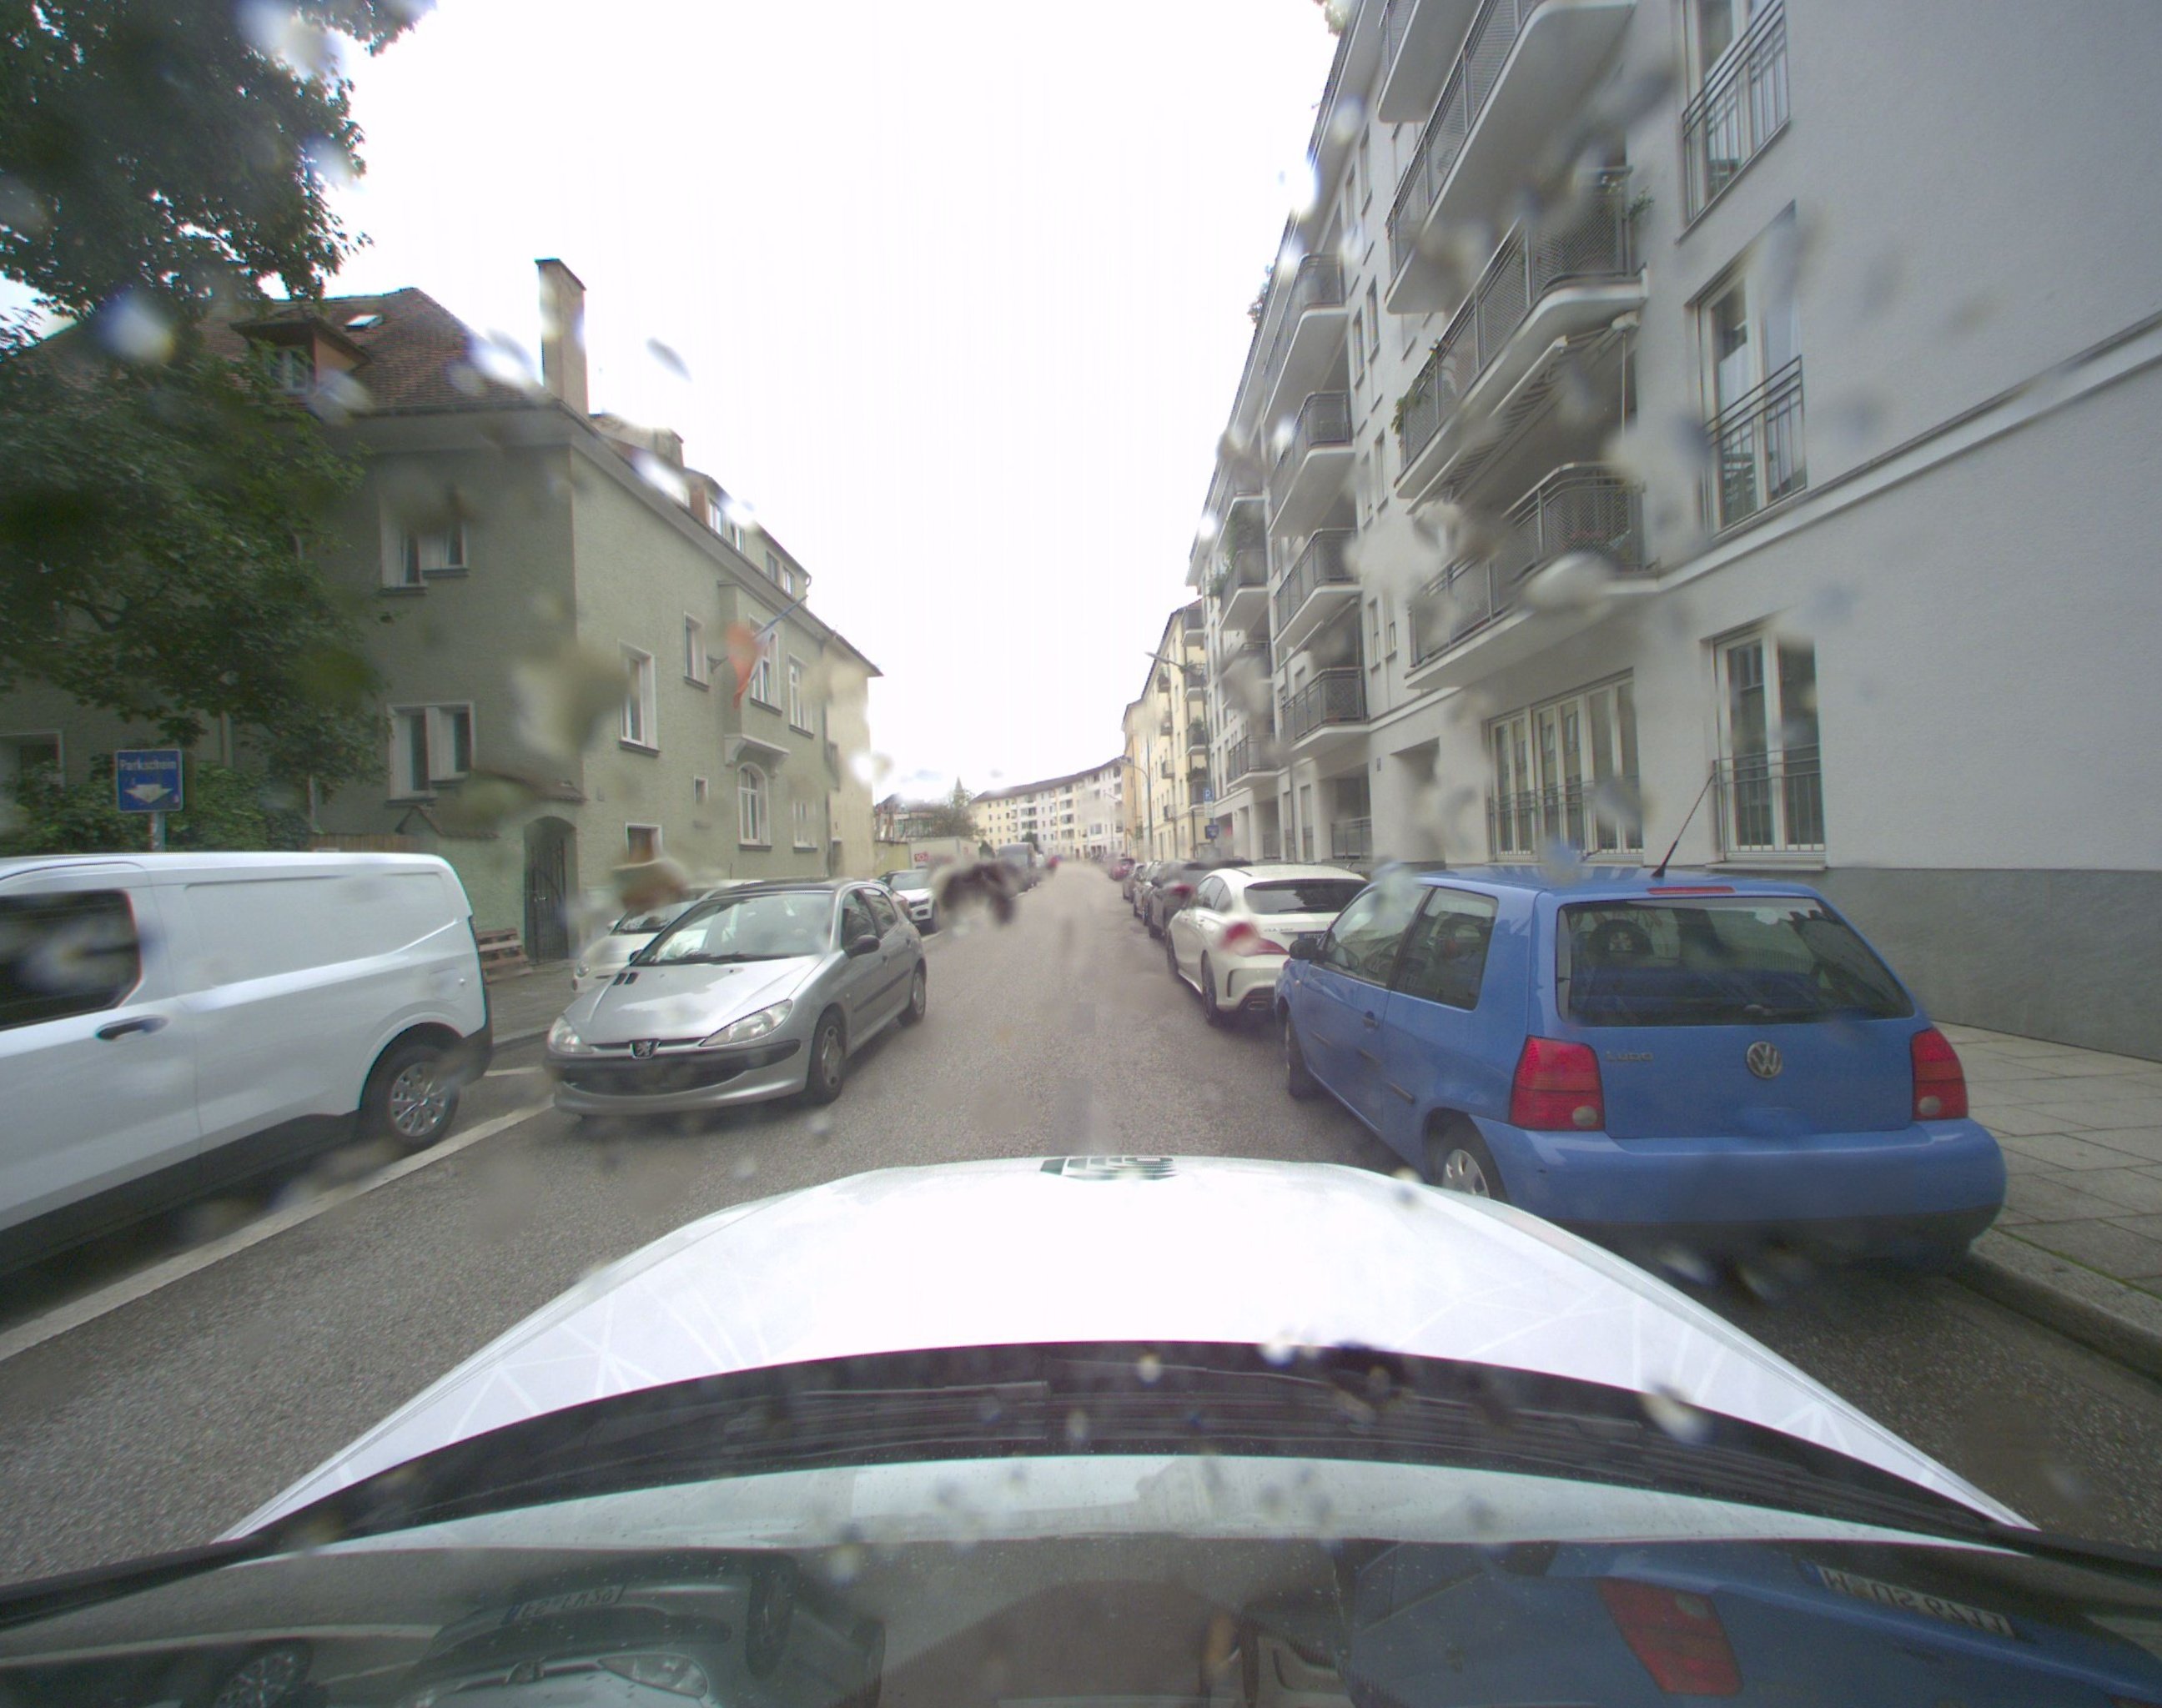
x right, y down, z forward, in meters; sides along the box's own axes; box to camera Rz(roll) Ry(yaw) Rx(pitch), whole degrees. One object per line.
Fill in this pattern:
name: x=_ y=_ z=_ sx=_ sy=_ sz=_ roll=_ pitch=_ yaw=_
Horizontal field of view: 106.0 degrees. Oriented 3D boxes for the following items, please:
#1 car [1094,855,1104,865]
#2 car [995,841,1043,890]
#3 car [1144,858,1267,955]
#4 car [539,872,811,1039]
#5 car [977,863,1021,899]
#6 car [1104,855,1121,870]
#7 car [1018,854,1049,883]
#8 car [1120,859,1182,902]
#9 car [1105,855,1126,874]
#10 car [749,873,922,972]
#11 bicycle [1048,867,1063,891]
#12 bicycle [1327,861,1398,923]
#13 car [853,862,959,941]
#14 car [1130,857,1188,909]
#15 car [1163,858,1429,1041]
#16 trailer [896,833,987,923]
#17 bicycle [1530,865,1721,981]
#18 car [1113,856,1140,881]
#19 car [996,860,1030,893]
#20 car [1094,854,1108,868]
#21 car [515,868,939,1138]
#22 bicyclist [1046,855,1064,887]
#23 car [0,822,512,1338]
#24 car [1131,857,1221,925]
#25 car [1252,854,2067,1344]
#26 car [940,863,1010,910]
car: x=2.455 y=0.816 z=111.178 sx=1.268 sy=1.299 sz=2.796 roll=-2 pitch=0 yaw=-1
car: x=-3.602 y=0.625 z=48.172 sx=2.080 sy=2.636 sz=5.380 roll=-3 pitch=0 yaw=2
car: x=2.121 y=0.833 z=14.837 sx=1.599 sy=1.530 sz=3.983 roll=0 pitch=0 yaw=-1
car: x=-4.500 y=1.022 z=9.581 sx=1.469 sy=1.466 sz=3.312 roll=-4 pitch=0 yaw=-1
car: x=-3.777 y=1.216 z=37.917 sx=1.696 sy=1.445 sz=3.822 roll=-2 pitch=0 yaw=-2
car: x=3.470 y=0.886 z=89.483 sx=1.586 sy=1.582 sz=4.297 roll=-1 pitch=0 yaw=-1
car: x=-3.462 y=1.023 z=60.664 sx=1.876 sy=1.931 sz=4.601 roll=-4 pitch=0 yaw=0
car: x=2.533 y=0.943 z=30.341 sx=1.759 sy=1.408 sz=4.075 roll=-2 pitch=-1 yaw=-2
car: x=2.933 y=0.919 z=70.096 sx=1.594 sy=1.491 sz=3.798 roll=-2 pitch=0 yaw=-1
car: x=-4.358 y=1.151 z=15.212 sx=1.855 sy=1.412 sz=4.332 roll=-5 pitch=-1 yaw=-1
bicycle: x=-1.282 y=1.224 z=40.678 sx=0.502 sy=1.128 sz=1.775 roll=-4 pitch=0 yaw=3
bicycle: x=5.762 y=0.742 z=16.805 sx=0.625 sy=1.160 sz=2.126 roll=-3 pitch=0 yaw=-1
car: x=-4.216 y=1.083 z=20.244 sx=1.681 sy=1.603 sz=3.920 roll=-4 pitch=0 yaw=0
car: x=2.453 y=0.892 z=26.237 sx=1.514 sy=1.530 sz=3.526 roll=-1 pitch=0 yaw=0
car: x=1.912 y=0.762 z=8.533 sx=1.653 sy=1.440 sz=4.205 roll=0 pitch=0 yaw=-1
trailer: x=-4.259 y=0.689 z=25.544 sx=1.702 sy=2.461 sz=4.389 roll=-4 pitch=0 yaw=3
bicycle: x=5.493 y=0.662 z=8.371 sx=0.675 sy=1.028 sz=1.834 roll=-3 pitch=-2 yaw=0
car: x=3.003 y=0.931 z=54.174 sx=1.590 sy=1.509 sz=3.801 roll=-3 pitch=0 yaw=1
car: x=-3.523 y=1.131 z=42.916 sx=1.582 sy=1.538 sz=3.540 roll=-3 pitch=0 yaw=-3
car: x=2.408 y=0.875 z=99.512 sx=1.469 sy=1.641 sz=3.999 roll=-1 pitch=0 yaw=-1
car: x=-2.296 y=0.862 z=6.346 sx=1.575 sy=1.411 sz=3.614 roll=-3 pitch=-1 yaw=2
bicyclist: x=-1.299 y=0.841 z=40.671 sx=0.691 sy=1.561 sz=0.967 roll=-4 pitch=0 yaw=3
car: x=-4.664 y=0.849 z=3.302 sx=1.685 sy=1.803 sz=4.144 roll=-4 pitch=0 yaw=0
car: x=2.283 y=0.845 z=20.724 sx=1.729 sy=1.530 sz=4.620 roll=0 pitch=0 yaw=-1
car: x=2.085 y=0.732 z=4.176 sx=1.614 sy=1.412 sz=3.551 roll=0 pitch=-1 yaw=-1
car: x=-4.023 y=1.194 z=31.524 sx=1.759 sy=1.538 sz=4.544 roll=-5 pitch=-1 yaw=3
